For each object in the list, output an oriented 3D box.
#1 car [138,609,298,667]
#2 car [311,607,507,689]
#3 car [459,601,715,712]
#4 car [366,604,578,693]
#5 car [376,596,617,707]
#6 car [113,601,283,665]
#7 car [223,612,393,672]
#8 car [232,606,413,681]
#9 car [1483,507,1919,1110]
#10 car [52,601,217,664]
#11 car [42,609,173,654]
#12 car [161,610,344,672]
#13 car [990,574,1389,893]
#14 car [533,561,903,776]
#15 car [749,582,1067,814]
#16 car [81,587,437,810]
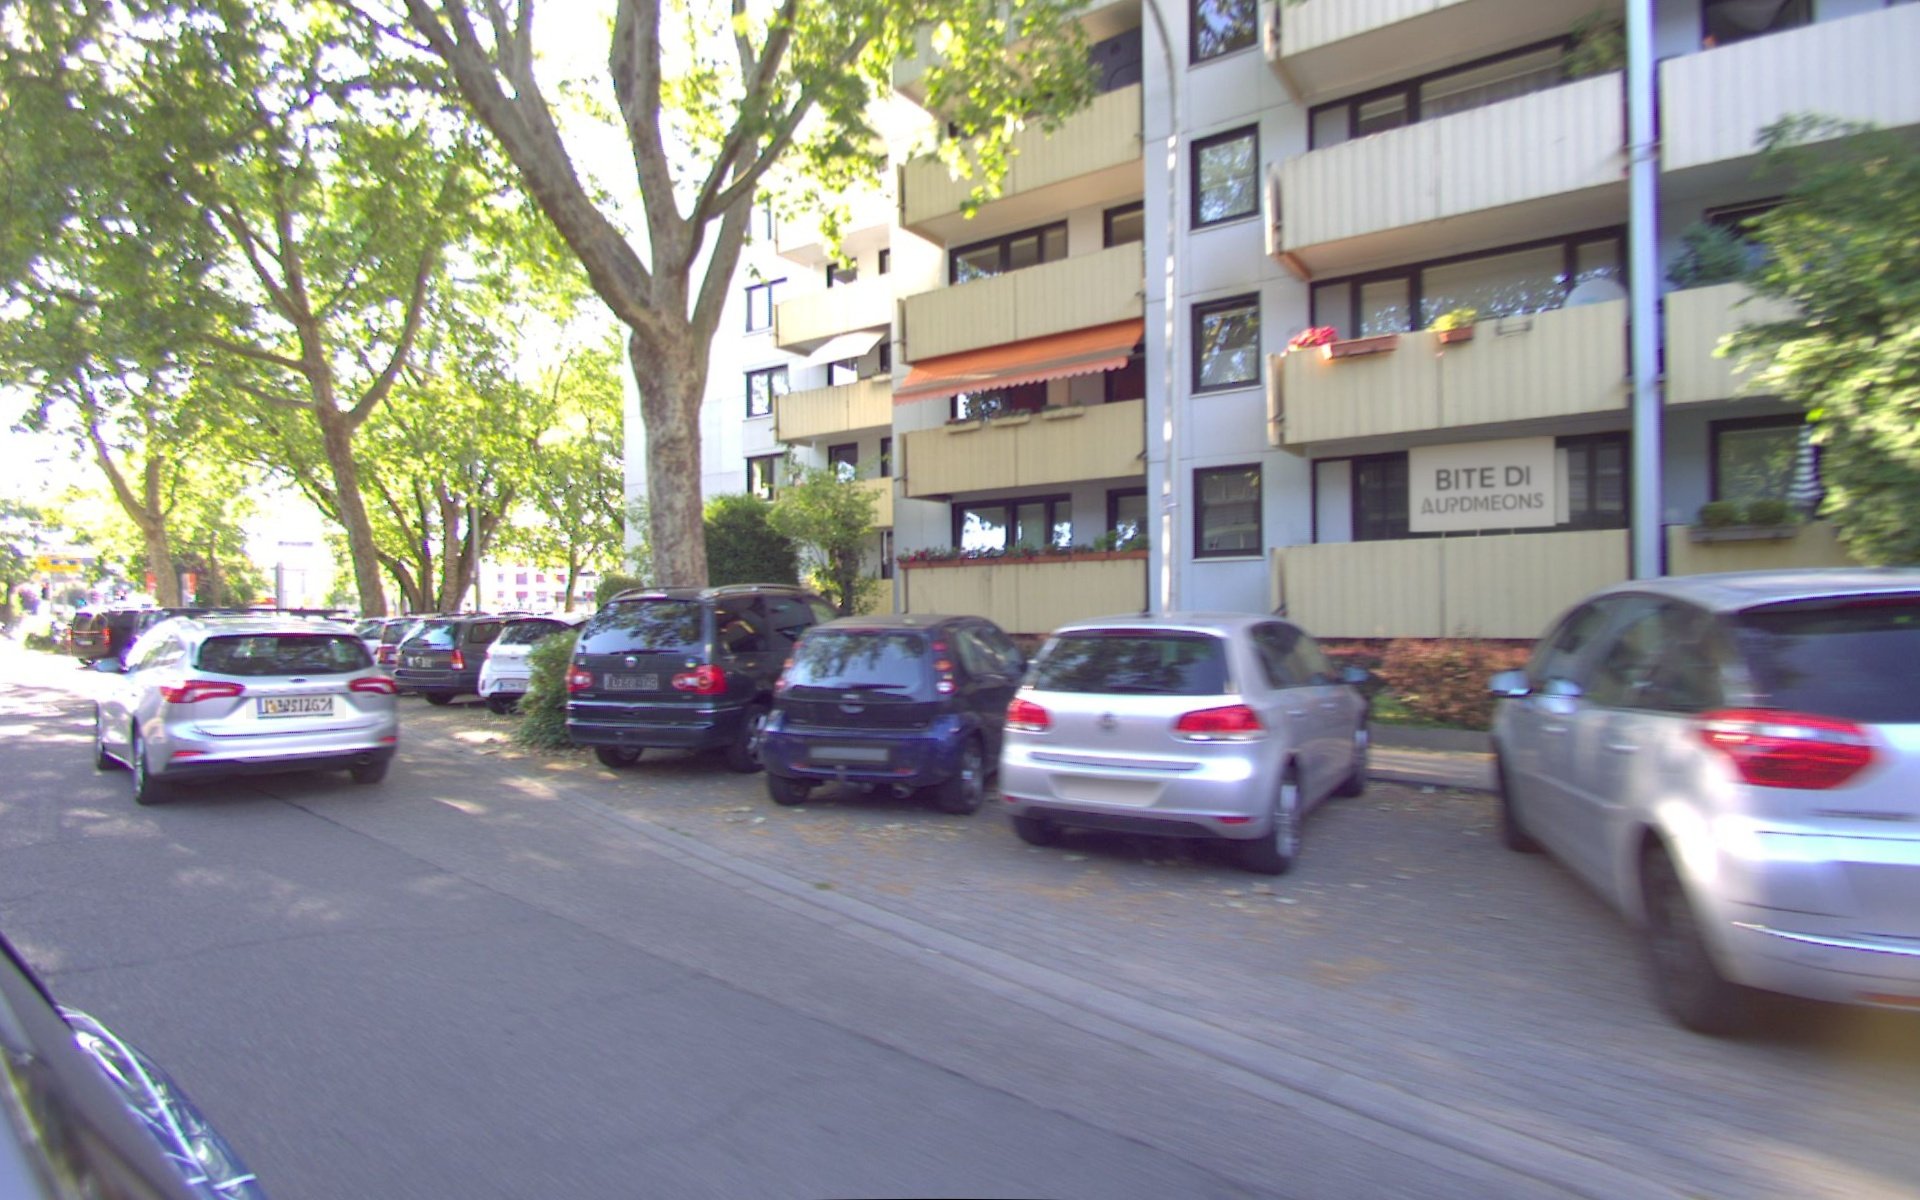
[{"bbox_3d":[-22.201,1.088,30.427,1.640,1.572,3.572,-1,0,23],"label":"car"},{"bbox_3d":[-11.681,0.962,21.726,1.693,1.572,3.633,-1,0,14],"label":"car"},{"bbox_3d":[-5.715,0.811,15.950,1.765,1.505,3.632,-2,-1,23],"label":"car"},{"bbox_3d":[-9.539,0.883,20.082,1.640,1.572,3.622,-1,0,23],"label":"car"},{"bbox_3d":[-7.797,0.782,17.371,1.640,1.674,3.622,-1,0,23],"label":"car"},{"bbox_3d":[-24.310,0.994,32.434,1.823,1.896,3.966,-1,0,25],"label":"car"},{"bbox_3d":[-17.763,1.093,27.752,1.693,1.472,3.625,-1,0,20],"label":"car"},{"bbox_3d":[-15.533,1.007,24.865,1.635,1.674,3.632,-1,0,15],"label":"car"},{"bbox_3d":[3.768,0.555,4.567,1.762,1.652,4.116,-1,0,17],"label":"car"},{"bbox_3d":[-26.973,1.013,33.231,1.701,1.901,3.981,-1,0,15],"label":"car"},{"bbox_3d":[-34.366,1.233,40.961,1.696,1.654,3.992,-1,0,7],"label":"car"},{"bbox_3d":[-20.233,1.120,29.125,1.789,1.637,3.964,-1,-1,27],"label":"car"},{"bbox_3d":[1.809,0.656,6.986,1.693,1.572,3.613,-1,0,30],"label":"car"},{"bbox_3d":[-2.265,0.576,10.770,1.891,1.788,4.244,-1,0,18],"label":"car"},{"bbox_3d":[-0.217,0.668,8.836,1.685,1.572,3.631,-1,0,16],"label":"car"},{"bbox_3d":[-6.646,0.765,9.356,1.878,1.548,4.624,4,-4,-45],"label":"car"}]
